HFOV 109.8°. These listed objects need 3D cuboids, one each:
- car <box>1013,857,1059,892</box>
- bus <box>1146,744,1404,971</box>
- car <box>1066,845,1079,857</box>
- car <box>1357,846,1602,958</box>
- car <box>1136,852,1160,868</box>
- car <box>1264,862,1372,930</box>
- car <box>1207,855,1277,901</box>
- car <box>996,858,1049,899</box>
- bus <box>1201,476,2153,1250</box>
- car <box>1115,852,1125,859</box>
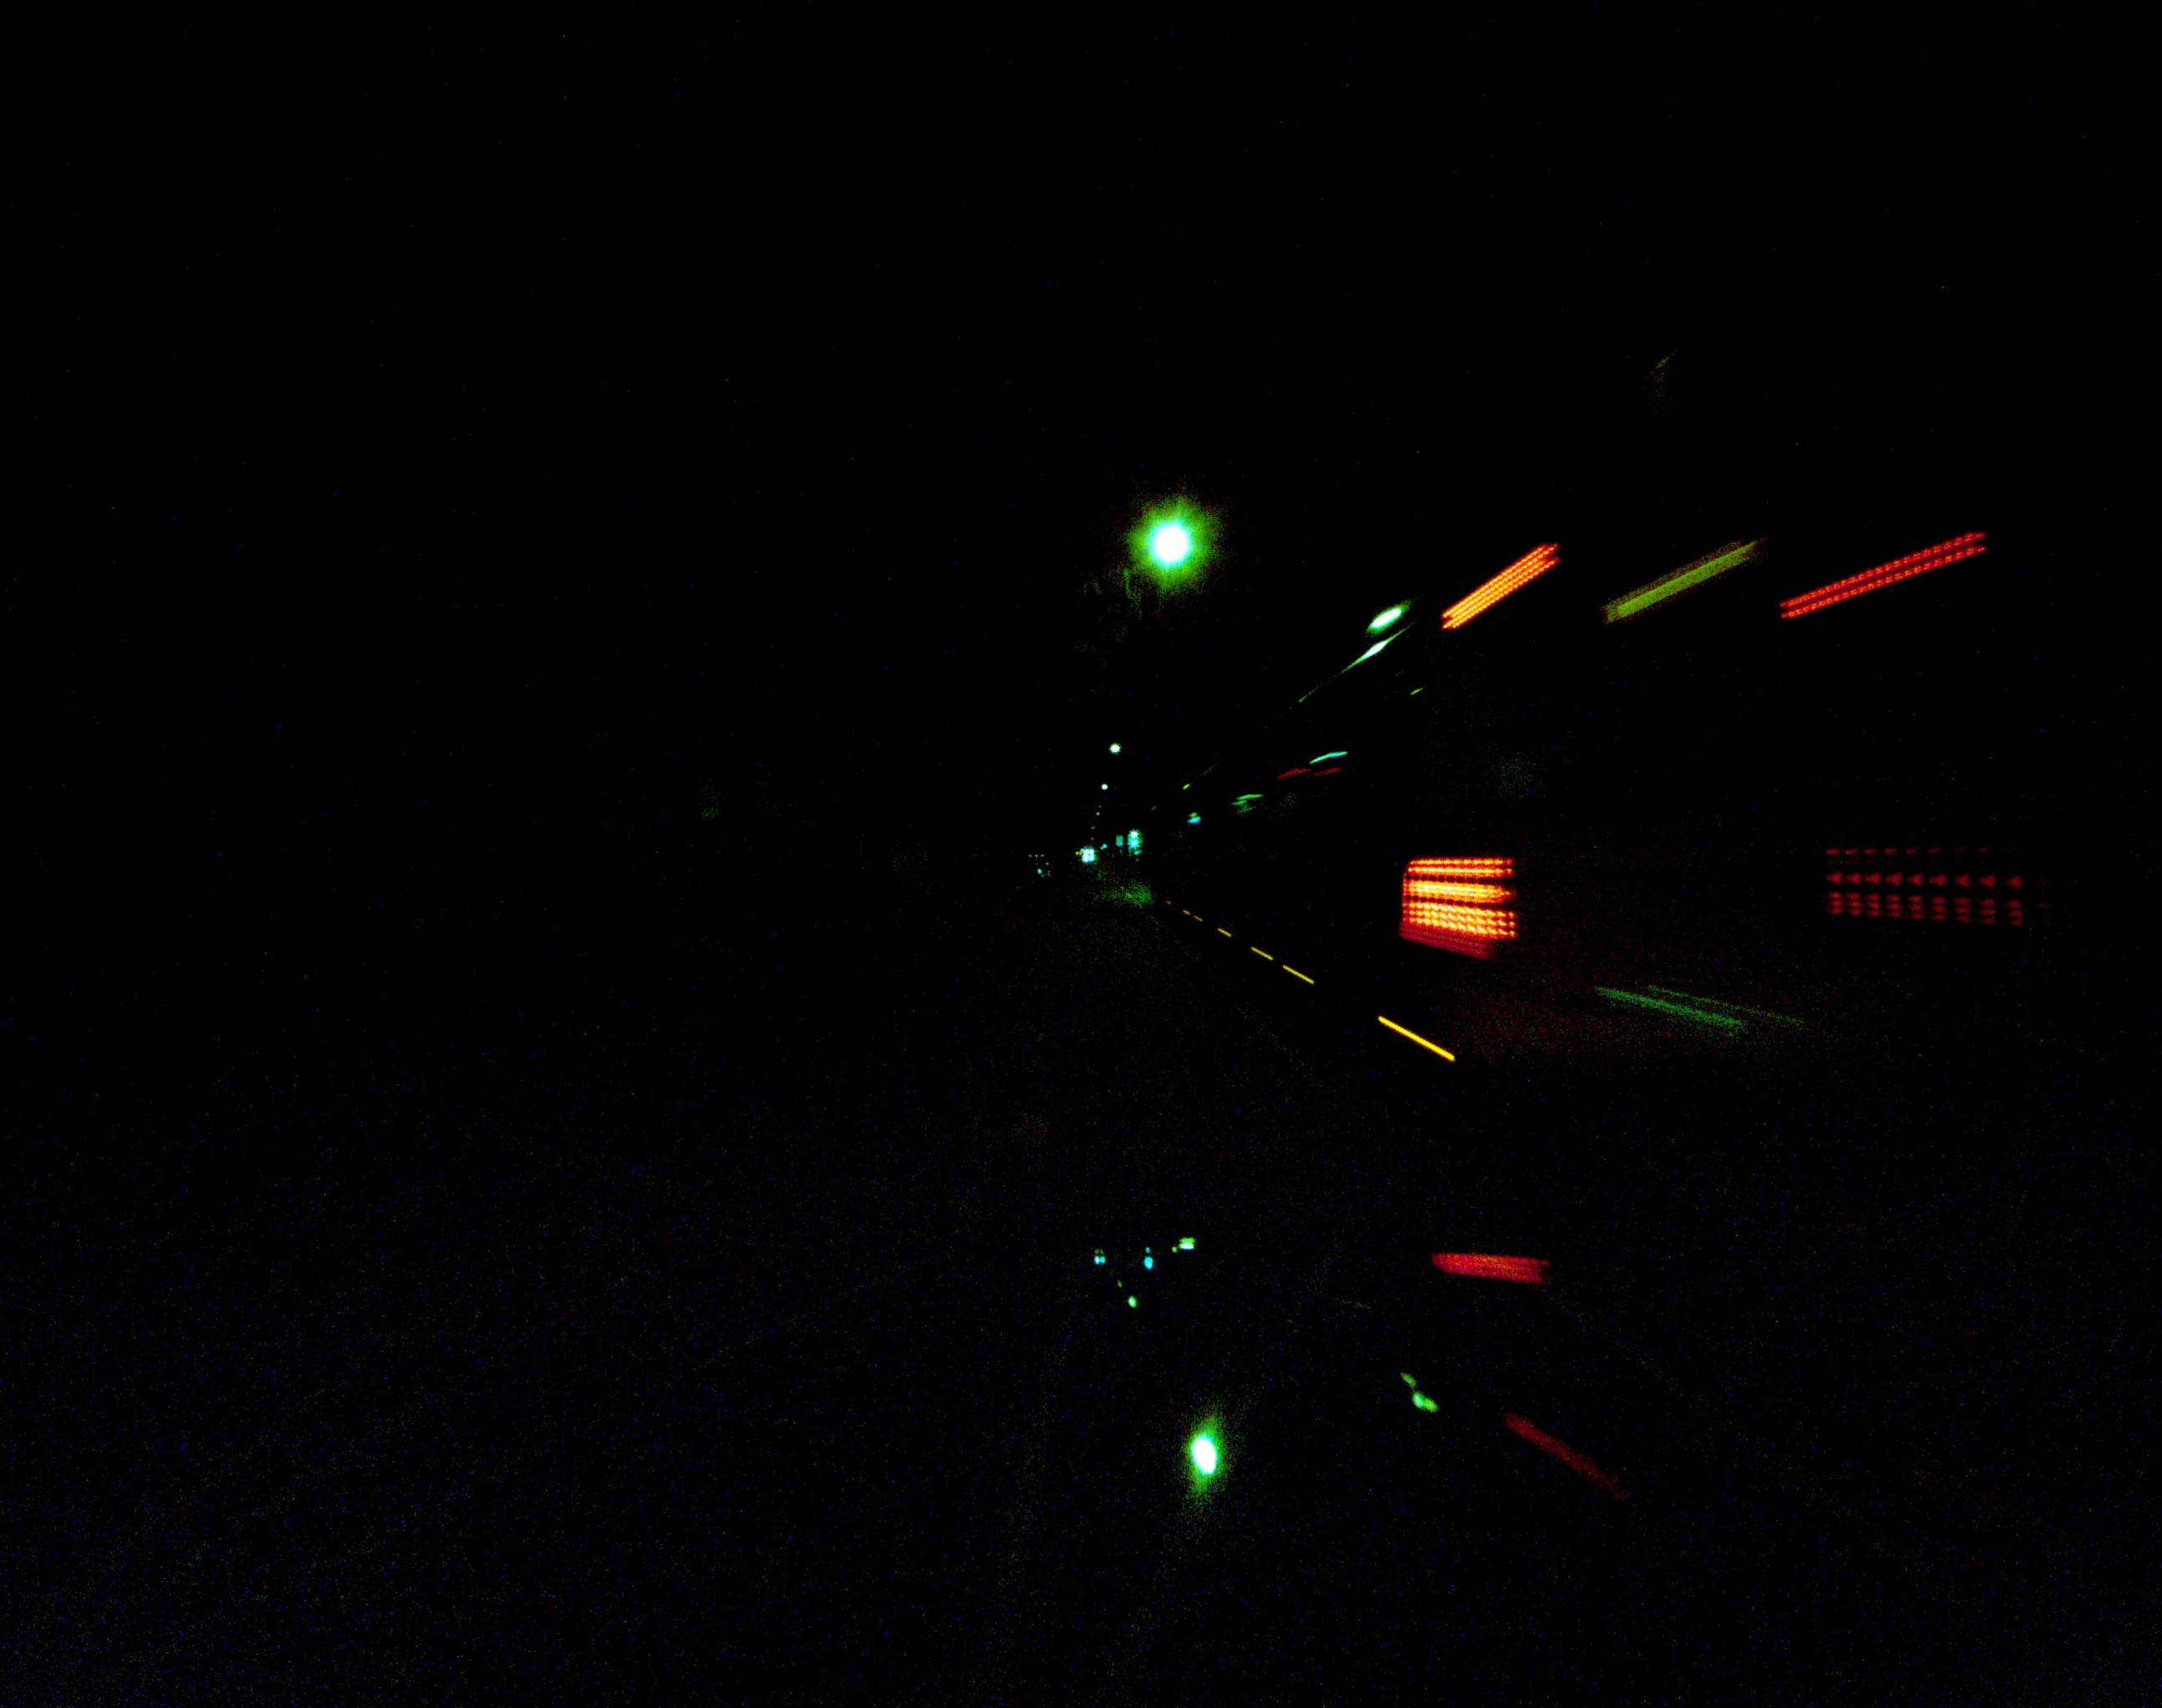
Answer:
[{"bbox_3d":[-2.035,0.901,35.618,1.850,1.409,4.644,2,1,0],"label":"car"},{"bbox_3d":[3.241,0.046,16.170,2.844,3.159,10.498,-2,0,1],"label":"bus"},{"bbox_3d":[-1.422,-0.466,123.003,1.916,1.816,4.899,-1,1,-2],"label":"car"},{"bbox_3d":[6.072,0.640,12.231,1.708,1.483,4.227,0,0,0],"label":"car"},{"bbox_3d":[7.040,0.628,80.018,1.853,1.640,4.670,-2,0,-3],"label":"car"},{"bbox_3d":[6.122,1.025,20.064,1.625,1.483,3.780,-2,1,0],"label":"car"},{"bbox_3d":[6.270,0.884,30.064,1.839,1.609,4.544,-2,0,1],"label":"car"},{"bbox_3d":[-2.252,0.917,30.035,1.775,1.439,4.019,-1,1,0],"label":"car"},{"bbox_3d":[3.114,0.054,7.035,2.844,3.159,7.661,-2,0,1],"label":"bus"},{"bbox_3d":[8.053,0.313,157.996,1.731,1.477,4.290,-2,1,0],"label":"car"}]
